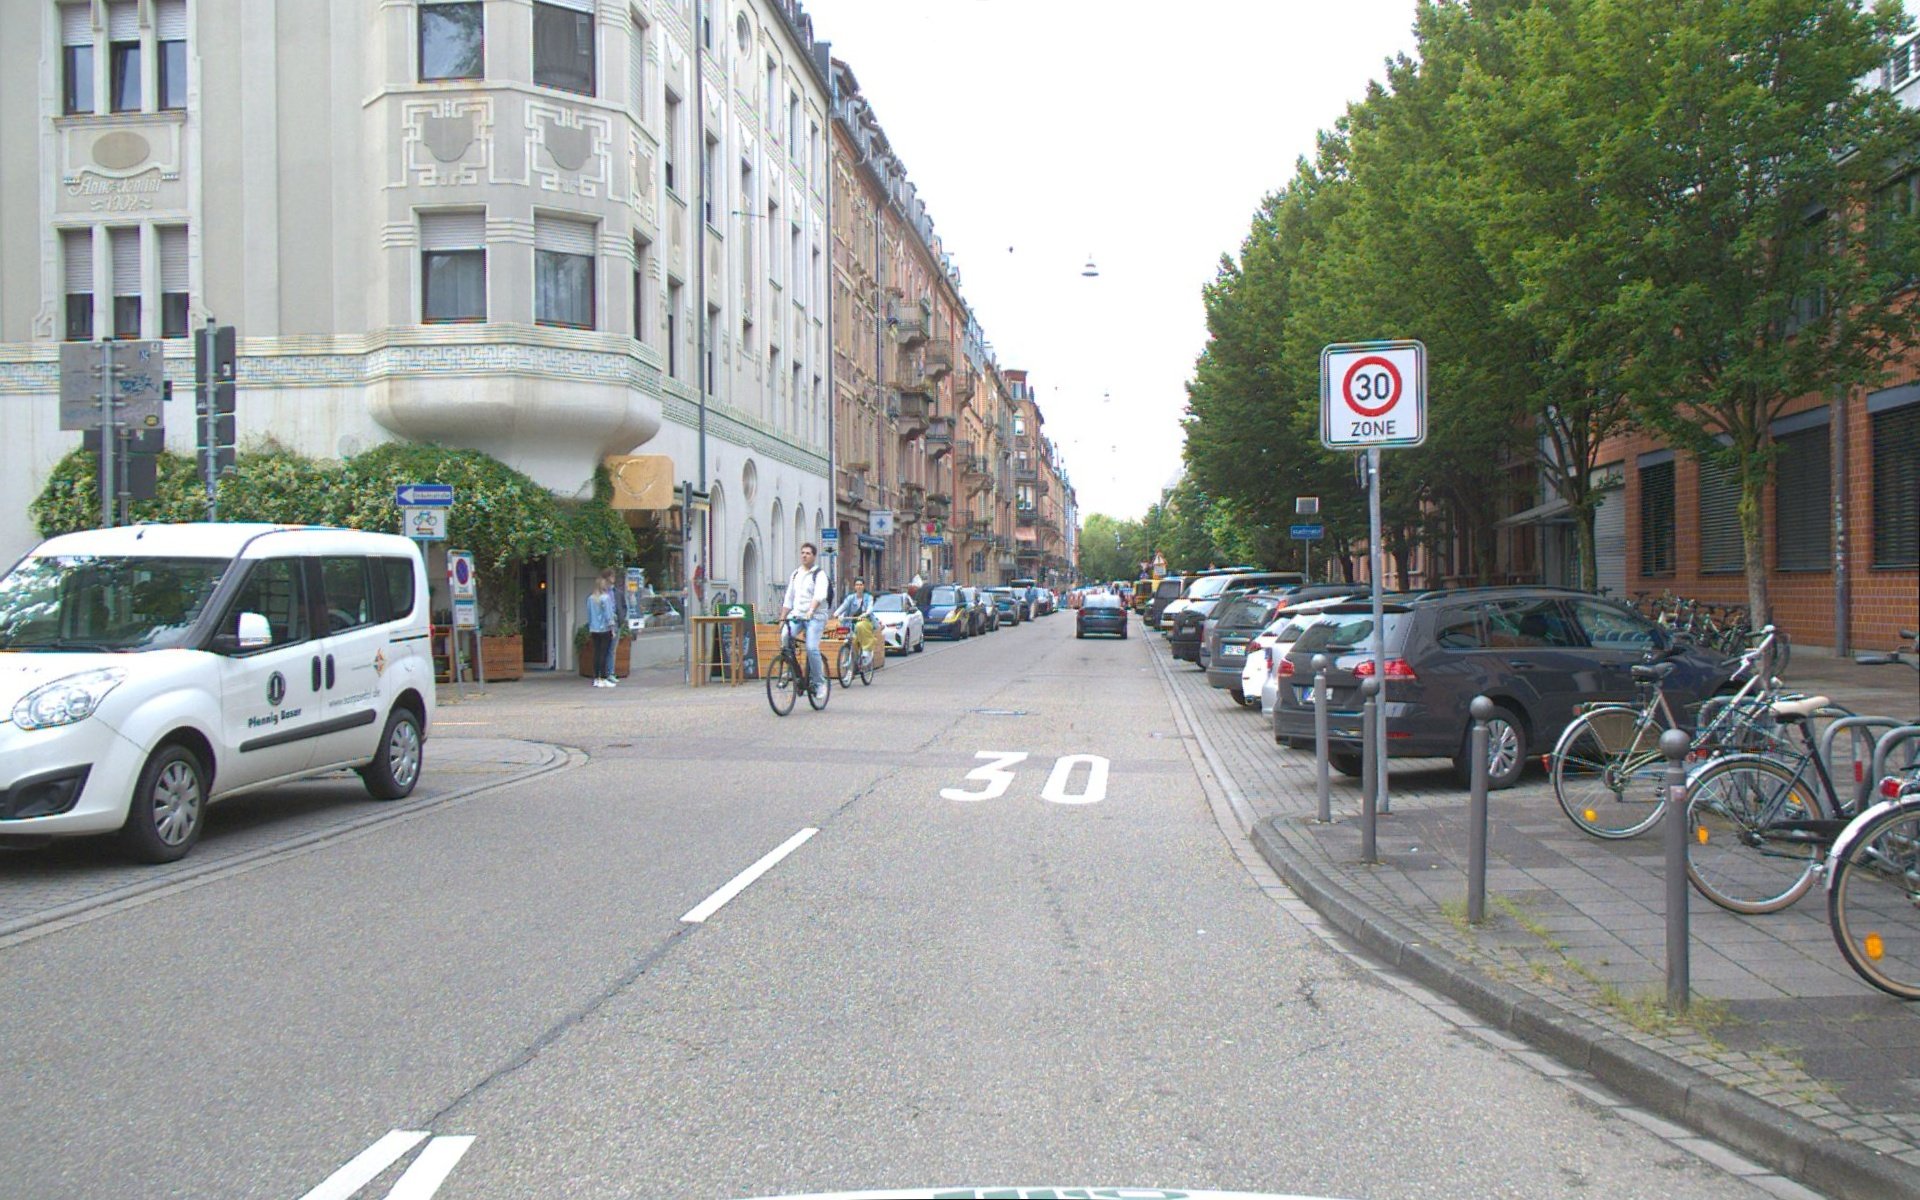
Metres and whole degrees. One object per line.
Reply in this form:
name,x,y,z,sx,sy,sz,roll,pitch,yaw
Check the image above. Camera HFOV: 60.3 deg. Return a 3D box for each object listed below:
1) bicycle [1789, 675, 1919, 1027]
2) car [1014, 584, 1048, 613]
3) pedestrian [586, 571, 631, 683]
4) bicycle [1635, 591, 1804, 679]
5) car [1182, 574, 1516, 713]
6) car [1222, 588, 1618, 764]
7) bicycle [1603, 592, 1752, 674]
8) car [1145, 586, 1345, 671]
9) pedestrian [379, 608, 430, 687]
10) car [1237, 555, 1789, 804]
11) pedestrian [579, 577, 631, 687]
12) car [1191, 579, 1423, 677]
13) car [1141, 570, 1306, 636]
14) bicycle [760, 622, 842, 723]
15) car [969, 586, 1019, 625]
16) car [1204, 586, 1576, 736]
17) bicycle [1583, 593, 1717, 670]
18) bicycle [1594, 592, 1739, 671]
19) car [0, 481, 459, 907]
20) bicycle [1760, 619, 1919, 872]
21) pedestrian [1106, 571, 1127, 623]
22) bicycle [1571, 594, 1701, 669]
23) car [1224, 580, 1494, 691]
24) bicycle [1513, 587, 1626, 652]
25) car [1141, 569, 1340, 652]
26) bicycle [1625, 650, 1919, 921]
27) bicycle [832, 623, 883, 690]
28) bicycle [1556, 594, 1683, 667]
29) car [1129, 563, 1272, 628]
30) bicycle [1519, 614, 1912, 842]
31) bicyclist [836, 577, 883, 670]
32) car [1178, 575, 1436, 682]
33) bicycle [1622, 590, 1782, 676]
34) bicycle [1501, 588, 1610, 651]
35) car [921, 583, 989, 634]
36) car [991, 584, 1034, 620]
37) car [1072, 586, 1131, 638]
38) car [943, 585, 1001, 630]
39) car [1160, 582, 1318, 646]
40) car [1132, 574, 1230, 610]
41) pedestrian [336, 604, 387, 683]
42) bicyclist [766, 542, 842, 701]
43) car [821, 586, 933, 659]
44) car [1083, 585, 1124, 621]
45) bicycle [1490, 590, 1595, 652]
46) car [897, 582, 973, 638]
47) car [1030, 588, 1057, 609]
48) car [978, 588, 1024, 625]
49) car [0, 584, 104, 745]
bicycle,3.843,0.772,5.428,1.889,1.061,0.612,-2,-1,2
car,4.378,-0.098,101.542,1.903,1.768,3.945,-1,0,6
pedestrian,-5.629,0.433,26.483,0.572,1.765,0.500,0,-1,-30
bicycle,9.783,0.447,21.349,1.892,1.111,0.577,0,-1,5
car,5.136,0.531,21.838,3.997,1.612,1.888,-2,0,-26
car,4.508,0.656,16.173,3.517,1.525,1.827,-1,1,-30
bicycle,9.856,0.453,22.765,1.797,1.111,0.543,0,-1,5
car,5.730,0.542,33.095,3.818,1.531,1.750,-2,0,-35
pedestrian,-8.695,0.740,25.899,0.566,1.218,0.555,0,1,5
car,4.544,0.552,13.508,4.225,1.606,1.846,-3,0,-28
pedestrian,-5.528,0.493,25.781,0.567,1.689,0.575,-1,-1,27
car,6.402,0.489,30.449,4.002,1.612,1.754,-2,0,-29
car,8.773,0.086,54.918,5.327,2.027,1.932,-2,0,-29
bicycle,-1.893,0.844,19.966,0.555,1.106,1.988,0,1,7
car,1.511,0.230,72.110,1.903,1.645,3.945,0,0,5
car,4.992,0.668,19.199,3.924,1.570,1.860,1,0,-26
bicycle,10.072,0.461,24.177,1.715,1.111,0.565,0,-1,5
bicycle,10.045,0.452,23.546,1.797,1.111,0.565,0,-1,5
car,-4.879,0.412,10.030,1.804,1.973,4.551,0,1,7
bicycle,4.980,0.668,8.029,1.844,1.161,0.612,-2,-1,2
pedestrian,6.702,-0.119,70.686,0.872,2.183,1.028,0,-1,4
bicycle,10.179,0.471,24.954,1.715,1.111,0.565,0,-1,5
car,6.139,0.503,25.358,4.006,1.512,1.665,-2,0,-31
bicycle,10.452,0.336,28.405,1.715,1.111,0.565,0,-1,5
car,7.992,0.269,46.986,5.545,2.164,1.932,-2,0,-29
bicycle,3.902,0.760,7.059,1.844,1.061,0.612,-2,-1,2
bicycle,-1.571,0.856,25.633,0.524,0.995,1.866,0,-1,5
bicycle,10.181,0.466,25.562,1.715,1.111,0.565,0,-1,5
car,9.591,-0.169,66.085,5.298,2.415,1.942,-2,0,-16
bicycle,4.132,0.688,9.137,1.844,1.161,0.612,-2,-1,2
bicyclist,-1.562,0.367,25.751,0.654,1.423,0.784,0,-1,3
car,5.840,0.447,27.839,3.996,1.612,1.757,-2,0,-25
bicycle,9.835,0.440,21.954,1.855,1.111,0.543,0,-1,5
bicycle,10.555,0.350,29.350,1.715,1.111,0.565,0,-1,5
car,-0.144,0.275,56.039,1.903,1.645,3.945,0,0,6
car,2.703,0.077,84.004,1.903,1.772,3.945,0,0,6
car,4.802,0.416,56.360,1.951,1.710,4.002,0,-1,4
car,0.480,0.286,63.146,1.903,1.645,3.945,0,0,5
car,7.318,0.360,43.354,3.808,1.531,1.754,-2,0,-29
car,12.624,-0.475,94.579,5.316,1.900,1.936,-2,0,-24
pedestrian,-9.535,0.688,26.362,0.566,1.218,0.555,0,1,5
bicyclist,-1.896,0.260,20.197,0.765,1.899,0.715,0,0,7
car,-1.903,0.503,39.052,1.903,1.580,3.820,-2,0,8
car,7.064,0.185,81.609,1.951,1.710,4.002,0,-1,4
bicycle,10.579,0.376,30.066,1.715,1.111,0.565,0,-1,5
car,-0.721,0.296,50.592,1.903,1.645,3.945,0,0,6
car,6.264,-0.112,124.360,1.952,1.525,4.001,0,-1,2
car,1.946,0.289,77.430,1.903,1.645,3.945,0,0,5
car,-11.668,0.704,17.829,3.972,1.635,1.769,-1,-1,3
